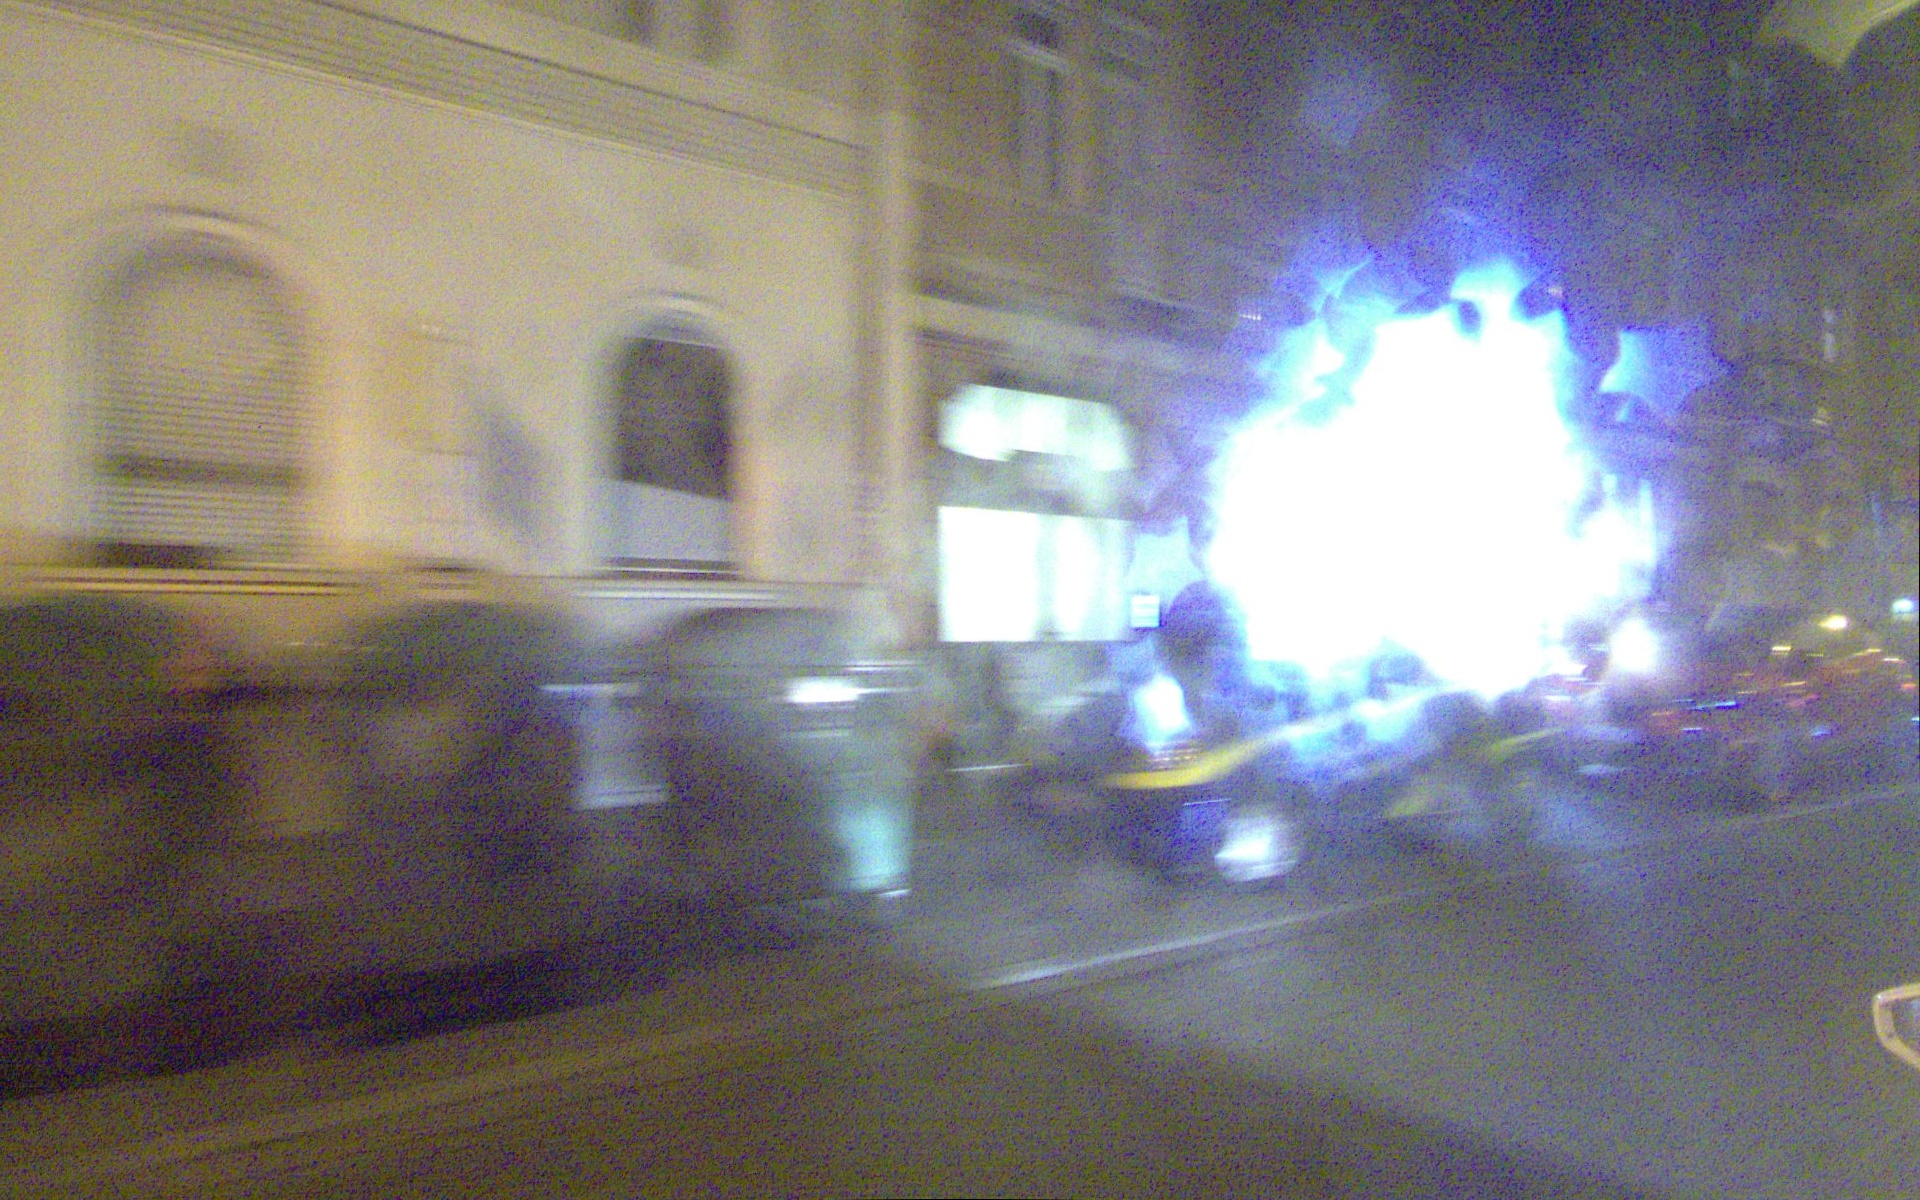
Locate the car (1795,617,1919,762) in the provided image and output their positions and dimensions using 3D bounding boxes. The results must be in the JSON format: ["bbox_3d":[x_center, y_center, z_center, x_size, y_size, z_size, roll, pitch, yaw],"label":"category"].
[{"bbox_3d":[11.611,0.952,11.636,4.265,1.475,1.678,0,0,-31],"label":"car"}]

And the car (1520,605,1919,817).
[{"bbox_3d":[7.047,0.844,9.193,3.979,1.573,1.595,0,0,-31],"label":"car"}]

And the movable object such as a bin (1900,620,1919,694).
[{"bbox_3d":[19.375,1.130,19.624,1.139,1.439,1.136,1,1,-28],"label":"movable object such as a bin"}]

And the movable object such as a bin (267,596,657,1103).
[{"bbox_3d":[-1.803,0.739,3.715,1.093,1.479,1.160,1,0,-28],"label":"movable object such as a bin"}]

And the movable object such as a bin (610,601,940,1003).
[{"bbox_3d":[-0.887,0.761,4.558,1.136,1.479,1.257,1,0,-28],"label":"movable object such as a bin"}]

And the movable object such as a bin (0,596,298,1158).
[{"bbox_3d":[-2.841,0.739,3.191,1.093,1.479,1.203,1,0,-28],"label":"movable object such as a bin"}]

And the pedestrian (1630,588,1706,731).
[{"bbox_3d":[9.257,0.760,13.135,0.543,1.804,0.636,1,-1,-30],"label":"pedestrian"}]

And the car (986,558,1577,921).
[{"bbox_3d":[2.137,0.696,6.431,3.678,1.729,1.595,1,-1,-31],"label":"car"}]
